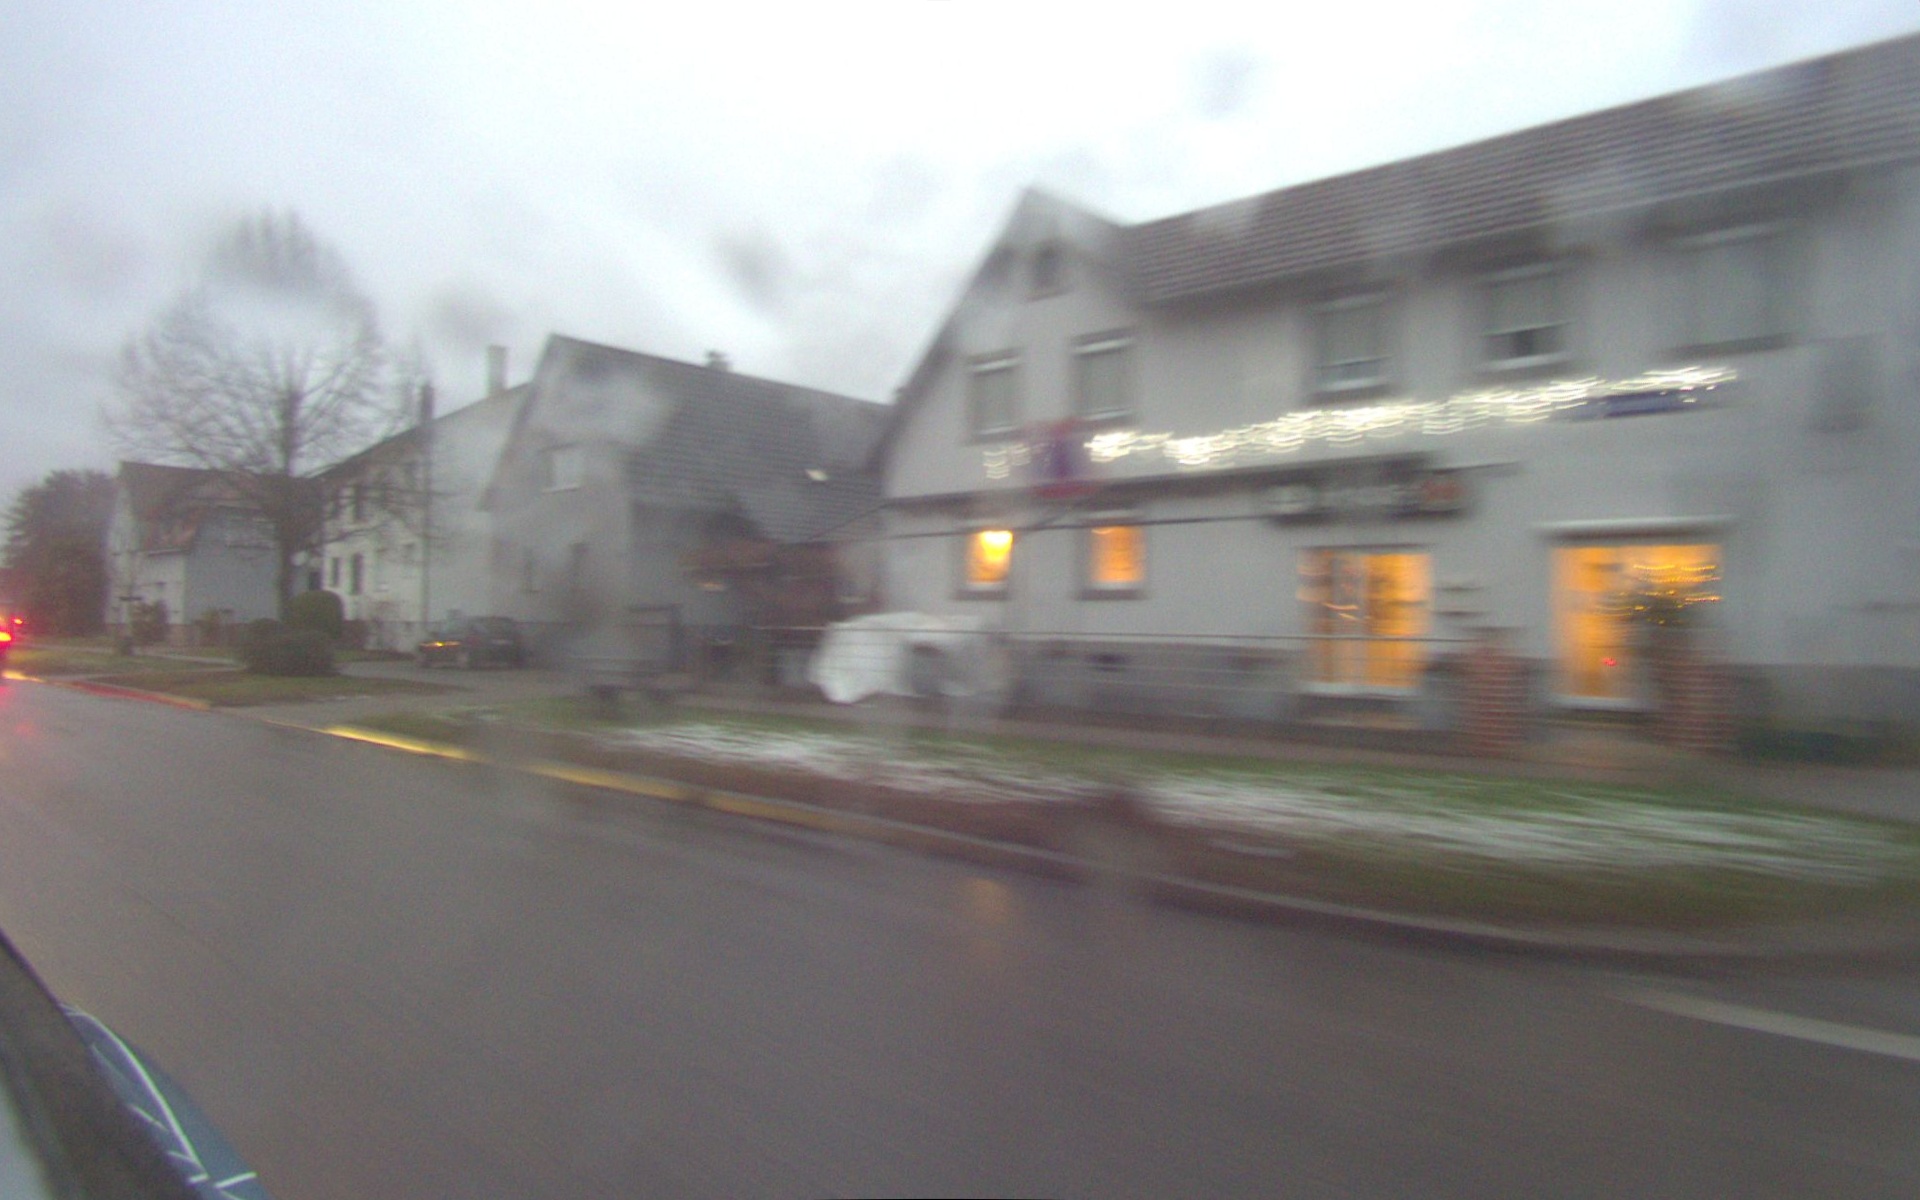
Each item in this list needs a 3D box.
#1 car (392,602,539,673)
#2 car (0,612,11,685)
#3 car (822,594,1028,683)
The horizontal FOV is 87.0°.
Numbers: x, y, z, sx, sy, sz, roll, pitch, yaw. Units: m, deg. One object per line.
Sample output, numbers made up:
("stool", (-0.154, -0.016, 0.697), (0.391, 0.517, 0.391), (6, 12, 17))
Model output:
("car", (-13.483, 0.974, 27.490), (4.565, 1.769, 1.973), (-1, -2, 41))
("car", (-23.687, 1.091, 23.513), (4.220, 1.645, 1.796), (-1, -3, 39))
("car", (-0.696, 0.831, 22.827), (4.498, 1.813, 1.914), (2, -2, -43))
